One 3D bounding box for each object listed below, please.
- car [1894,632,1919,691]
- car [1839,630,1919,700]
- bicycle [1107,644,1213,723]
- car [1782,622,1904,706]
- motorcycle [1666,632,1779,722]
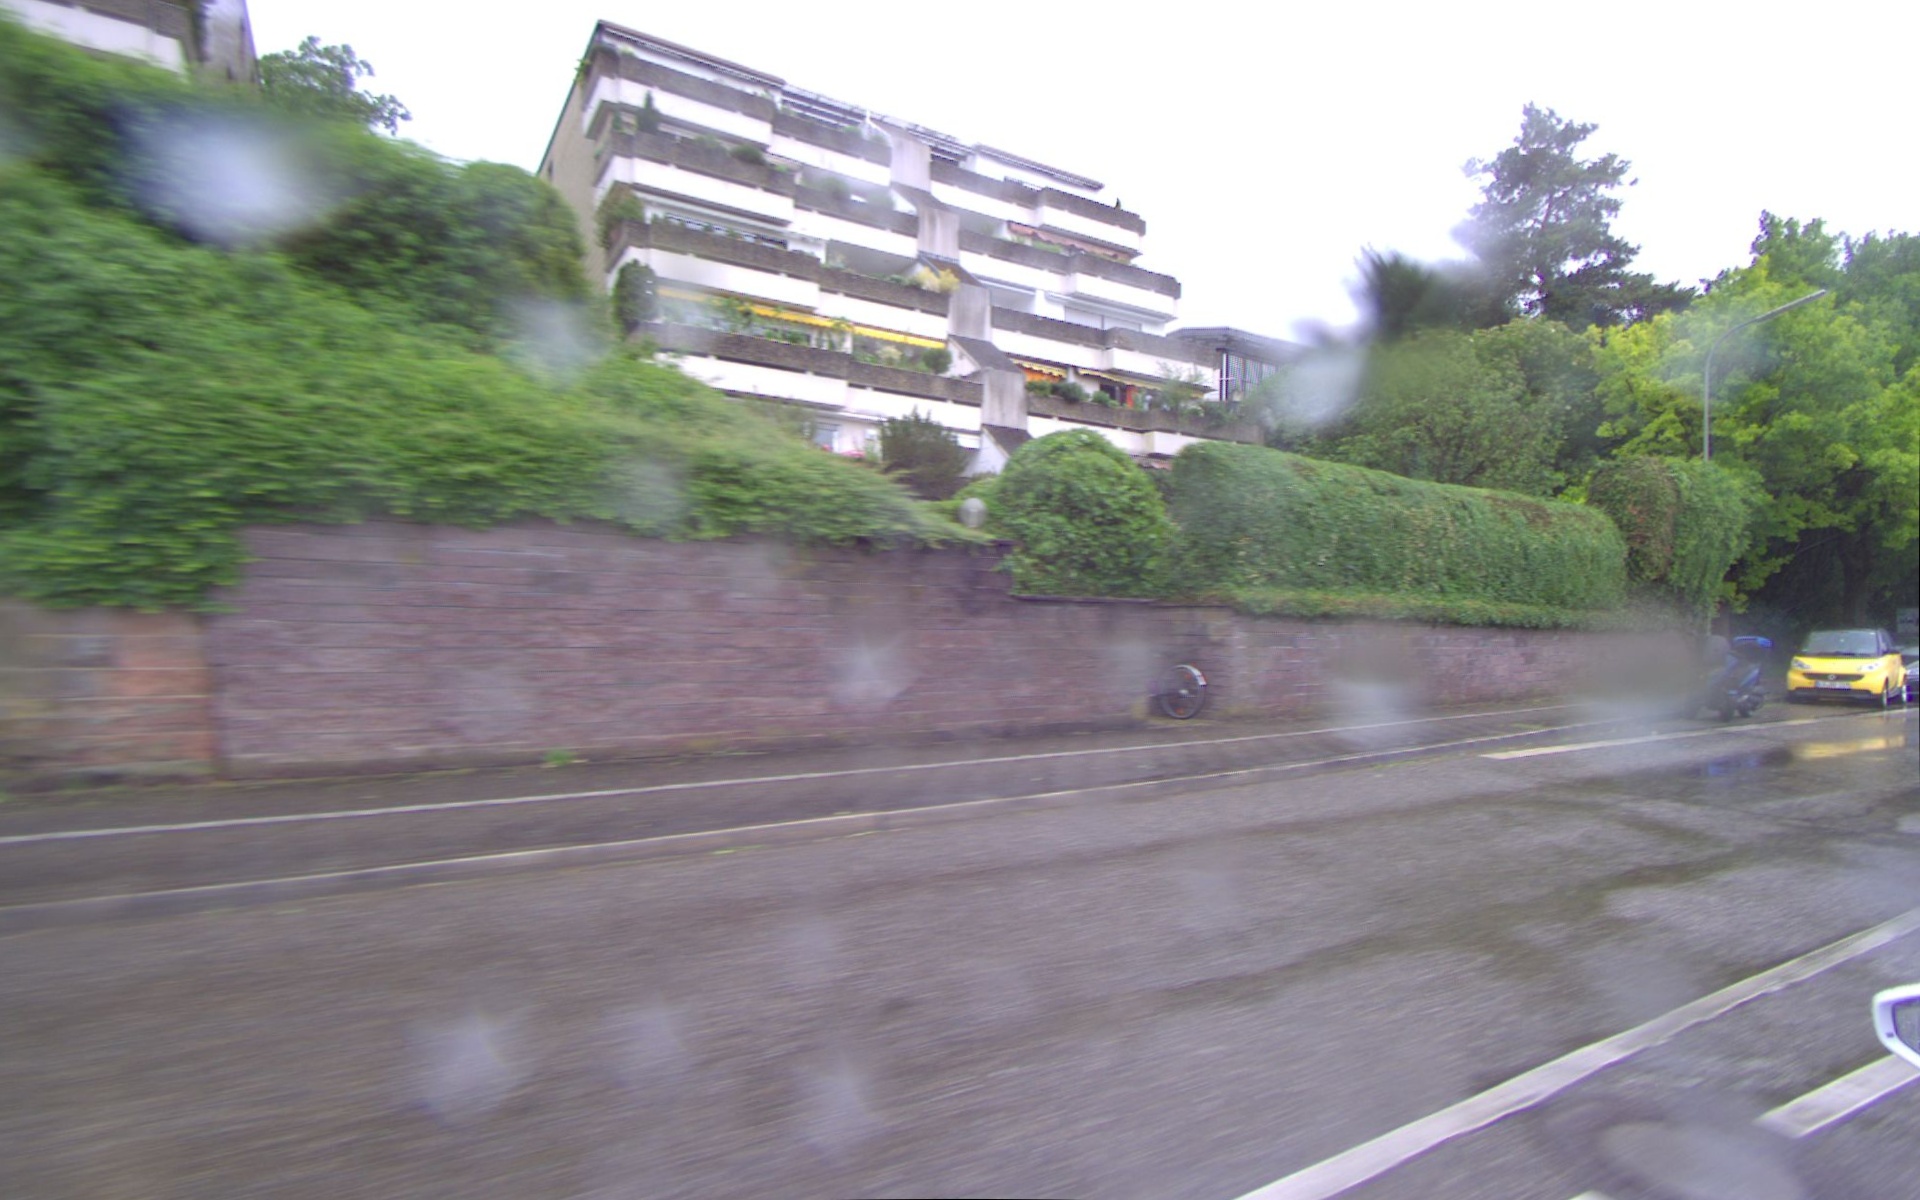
[{"bbox_3d":[25.503,1.557,25.403,4.690,1.438,1.677,2,-2,-33],"label":"car"},{"bbox_3d":[21.036,1.404,22.291,4.064,1.438,1.424,2,-2,-36],"label":"car"},{"bbox_3d":[2.704,1.116,13.695,0.465,0.942,1.474,2,0,-35],"label":"bicycle"},{"bbox_3d":[17.725,1.241,20.143,2.796,1.557,1.422,2,-2,-39],"label":"car"},{"bbox_3d":[12.383,1.211,16.275,2.476,1.359,0.831,2,-2,-37],"label":"motorcycle"}]
